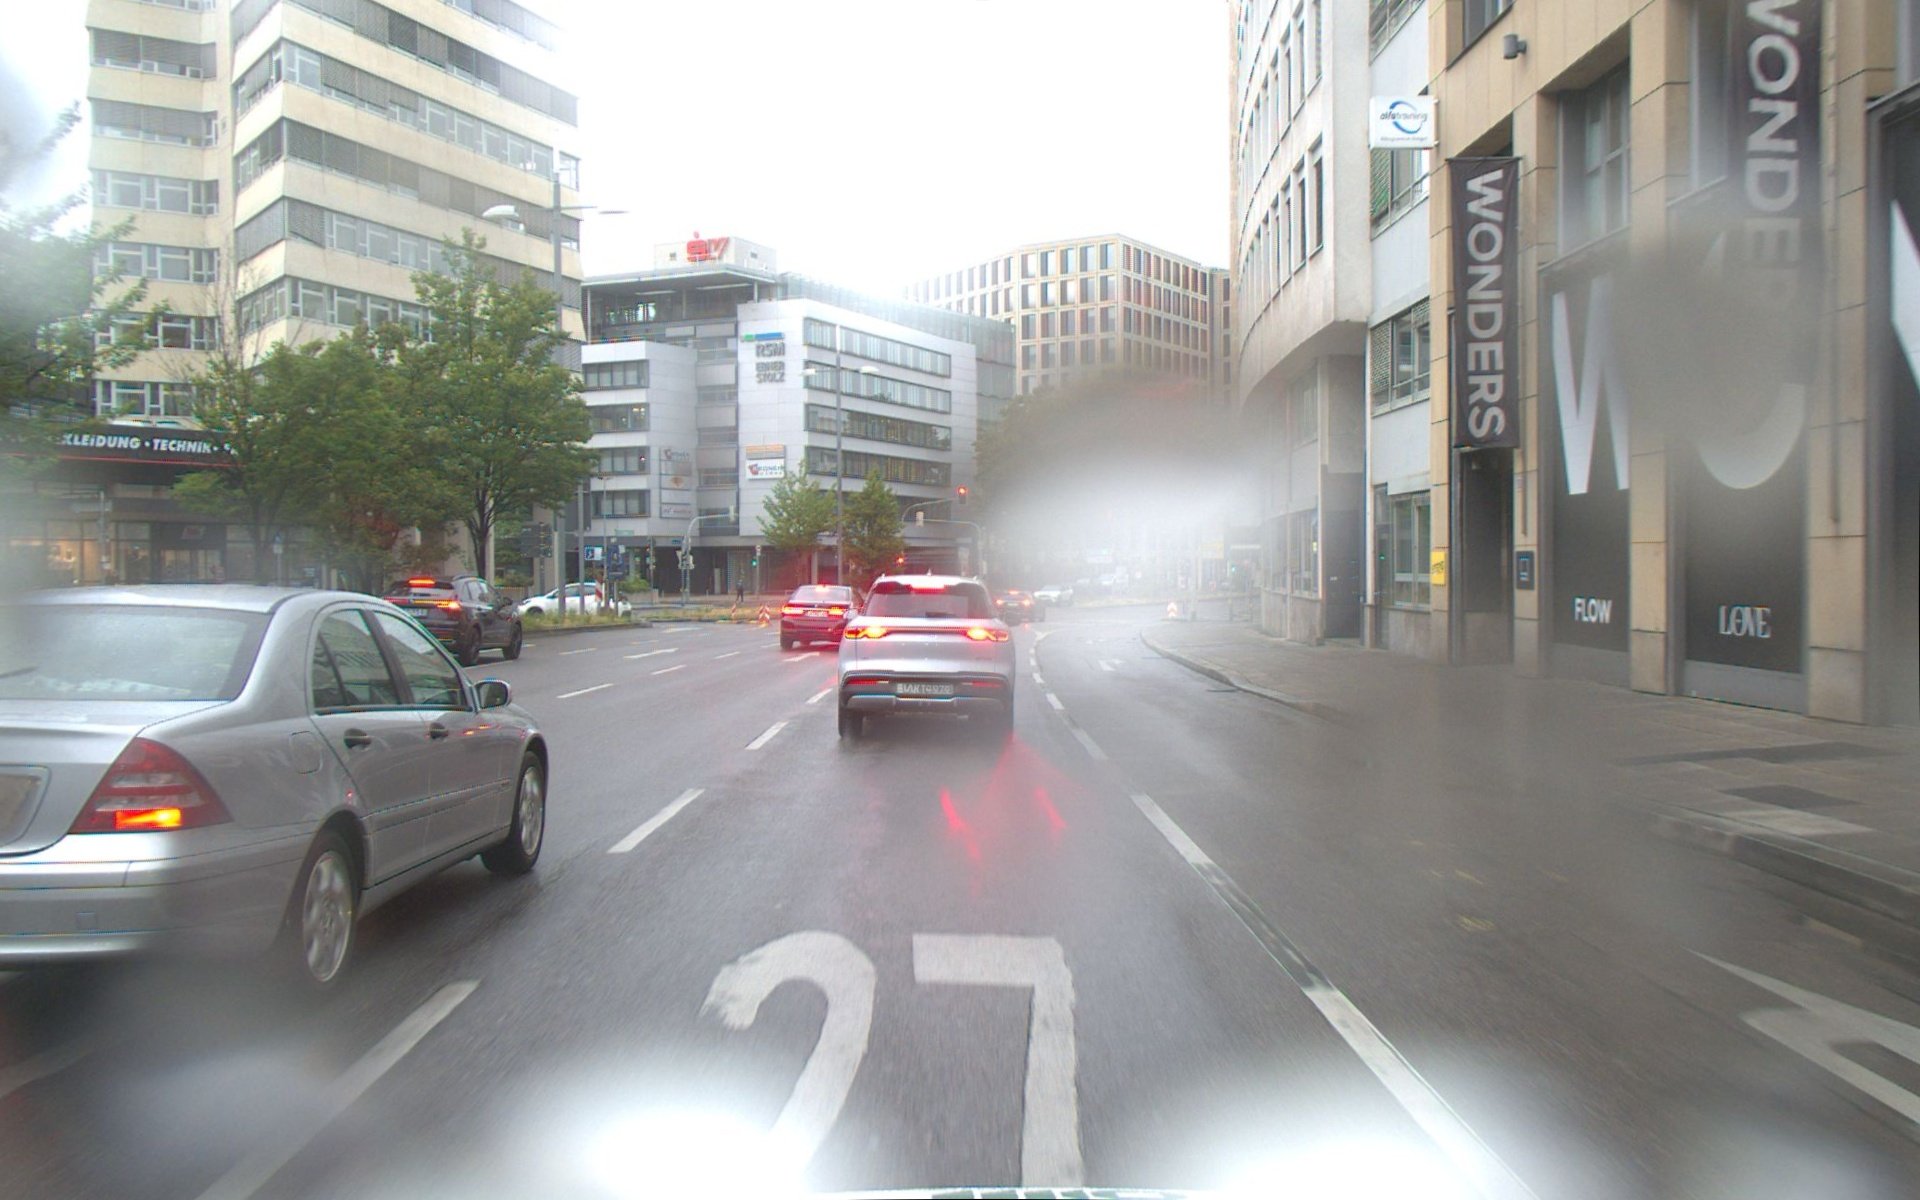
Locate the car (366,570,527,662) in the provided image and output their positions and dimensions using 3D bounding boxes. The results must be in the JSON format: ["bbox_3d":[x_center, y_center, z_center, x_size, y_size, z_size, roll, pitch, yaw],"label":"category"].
[{"bbox_3d":[-8.958,0.264,29.176,1.738,1.482,3.998,0,0,-2],"label":"car"}]

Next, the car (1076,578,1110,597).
[{"bbox_3d":[12.711,-1.216,157.922,1.822,1.766,3.993,1,1,29],"label":"car"}]

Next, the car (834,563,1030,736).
[{"bbox_3d":[-0.298,0.460,17.849,1.862,1.649,3.999,1,0,-1],"label":"car"}]

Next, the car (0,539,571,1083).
[{"bbox_3d":[-2.923,0.561,6.772,1.638,1.505,4.360,1,0,0],"label":"car"}]

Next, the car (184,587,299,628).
[{"bbox_3d":[-20.979,0.201,48.442,1.547,1.109,4.001,0,1,1],"label":"car"}]

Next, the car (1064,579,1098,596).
[{"bbox_3d":[11.038,-1.148,150.273,1.551,1.565,3.993,1,1,29],"label":"car"}]

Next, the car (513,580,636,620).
[{"bbox_3d":[-13.602,0.000,58.477,3.903,1.365,1.660,0,1,4],"label":"car"}]

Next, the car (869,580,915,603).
[{"bbox_3d":[-4.654,-0.573,113.685,1.549,1.565,3.998,0,1,25],"label":"car"}]

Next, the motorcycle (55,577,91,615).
[{"bbox_3d":[-32.271,-0.145,60.166,0.700,1.356,1.792,0,1,-44],"label":"motorcycle"}]

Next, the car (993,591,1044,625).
[{"bbox_3d":[2.874,0.370,80.138,1.773,1.606,4.004,0,1,13],"label":"car"}]

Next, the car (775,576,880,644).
[{"bbox_3d":[-3.112,0.256,39.763,1.833,1.505,4.880,1,-1,3],"label":"car"}]

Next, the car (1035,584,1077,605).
[{"bbox_3d":[7.145,-0.418,123.139,1.551,1.565,3.993,1,1,29],"label":"car"}]

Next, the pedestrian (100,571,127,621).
[{"bbox_3d":[-29.978,-0.146,58.564,0.746,1.743,0.585,0,0,-39],"label":"pedestrian"}]
